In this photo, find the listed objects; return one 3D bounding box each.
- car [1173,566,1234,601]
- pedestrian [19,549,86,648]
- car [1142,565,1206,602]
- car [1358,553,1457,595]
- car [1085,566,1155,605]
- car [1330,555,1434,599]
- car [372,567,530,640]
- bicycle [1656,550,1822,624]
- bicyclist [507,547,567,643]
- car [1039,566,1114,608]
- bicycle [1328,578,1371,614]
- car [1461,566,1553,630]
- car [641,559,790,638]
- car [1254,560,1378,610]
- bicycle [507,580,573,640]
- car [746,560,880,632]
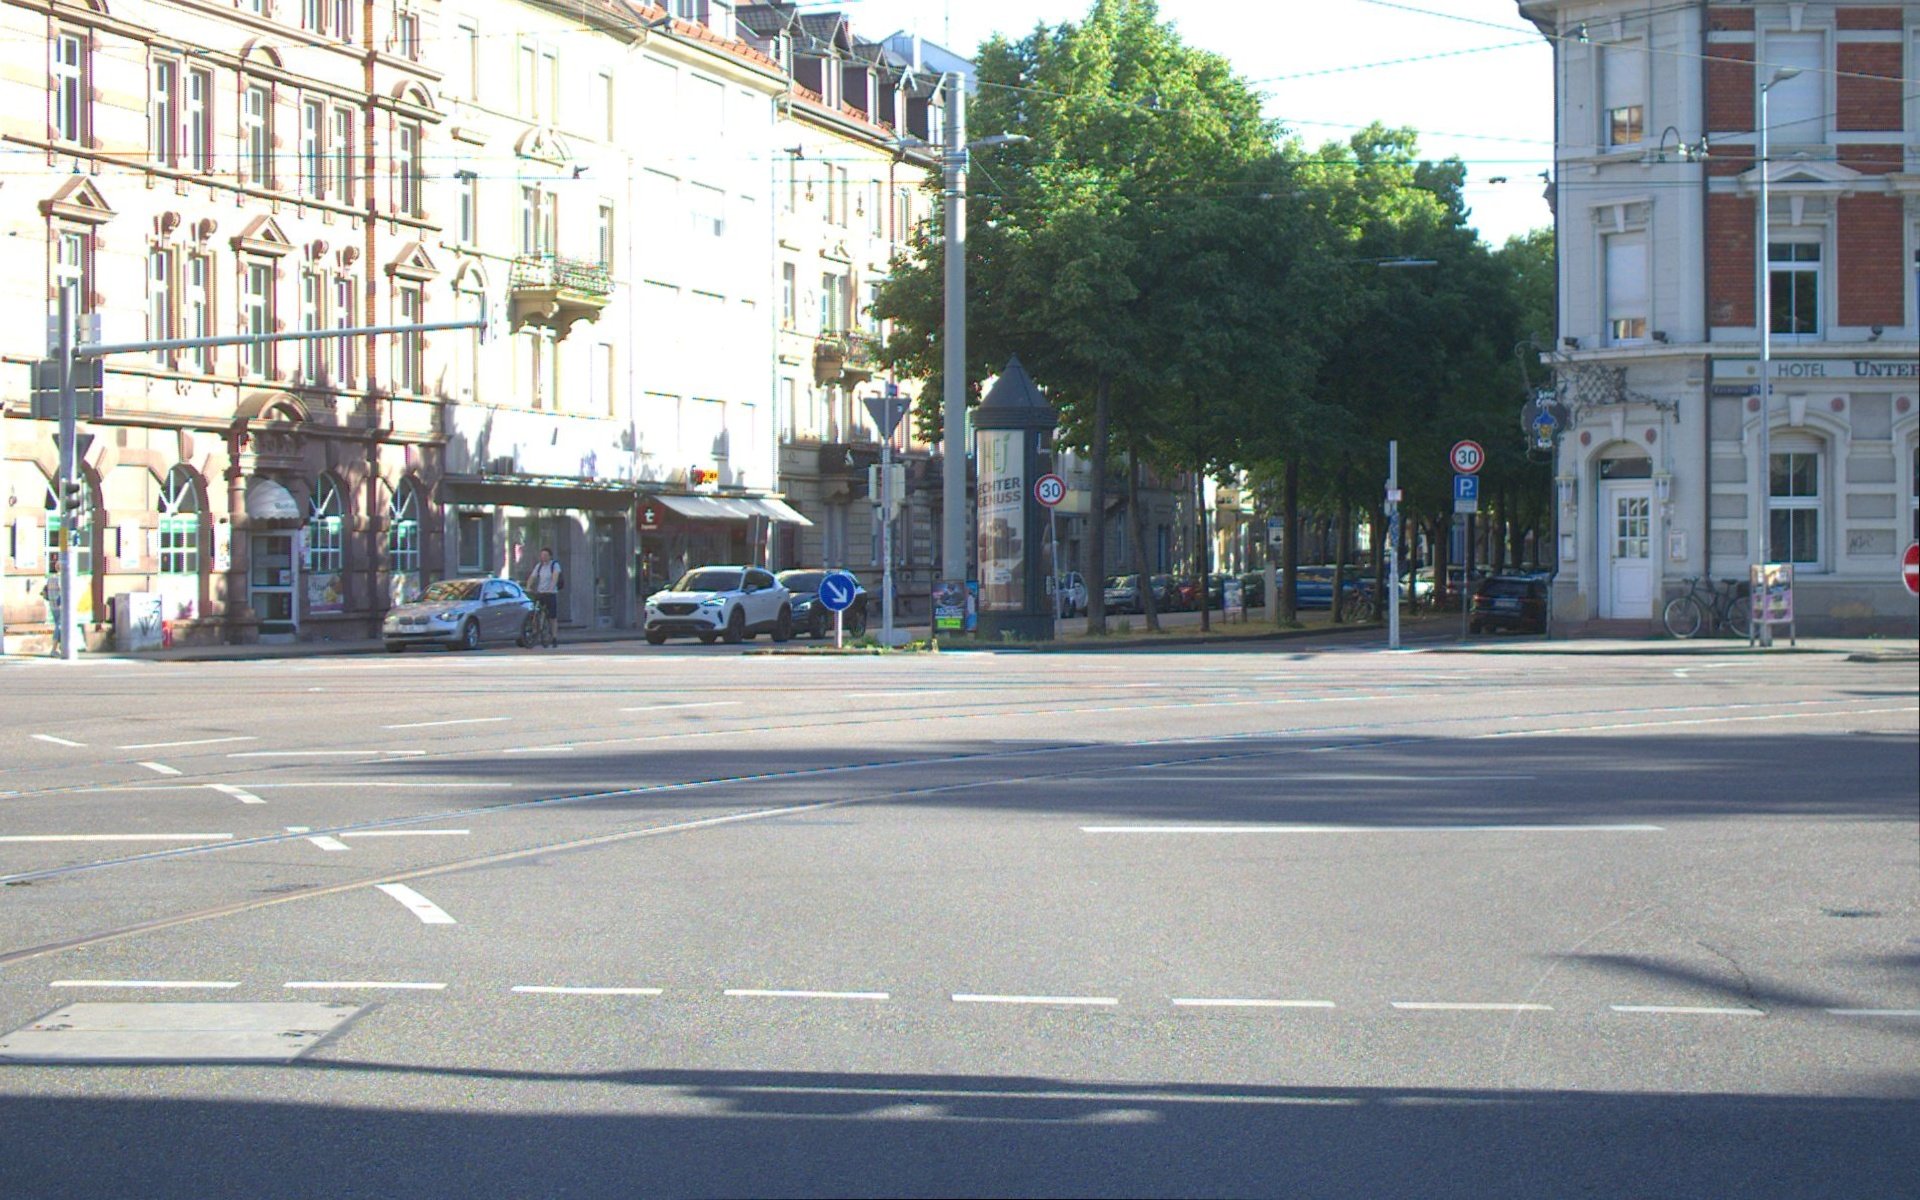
[{"bbox_3d":[9.619,-0.665,135.781,1.678,1.349,3.588,0,1,17],"label":"car"},{"bbox_3d":[-15.559,-0.027,58.961,0.776,1.664,0.830,1,0,15],"label":"pedestrian"},{"bbox_3d":[8.148,-0.625,130.750,1.678,1.349,3.588,0,1,17],"label":"car"},{"bbox_3d":[17.395,-1.012,133.510,3.582,1.642,1.681,0,1,17],"label":"car"},{"bbox_3d":[5.711,-0.531,122.444,1.678,1.349,3.588,0,1,17],"label":"car"},{"bbox_3d":[15.720,-0.858,128.036,3.582,1.642,1.681,0,1,17],"label":"car"},{"bbox_3d":[-9.866,0.051,66.913,1.678,1.349,3.588,0,1,17],"label":"car"},{"bbox_3d":[12.975,-0.213,57.279,2.554,1.170,0.819,1,0,-3],"label":"bicycle"},{"bbox_3d":[-8.008,-0.093,65.142,0.779,1.797,1.055,1,0,14],"label":"bicyclist"},{"bbox_3d":[3.940,-0.453,115.482,1.678,1.349,3.588,0,1,17],"label":"car"},{"bbox_3d":[11.268,-0.113,99.487,0.636,1.018,1.847,1,1,-14],"label":"bicycle"},{"bbox_3d":[13.156,-0.065,82.577,1.678,1.478,3.945,0,1,17],"label":"car"},{"bbox_3d":[-4.755,-0.057,67.317,1.678,1.478,3.768,0,1,17],"label":"car"},{"bbox_3d":[11.998,-0.519,115.681,3.905,1.642,1.681,0,1,17],"label":"car"},{"bbox_3d":[-7.973,0.180,65.268,0.702,1.114,1.634,1,1,13],"label":"bicycle"},{"bbox_3d":[-3.113,-0.108,73.618,1.678,1.478,3.945,0,1,17],"label":"car"}]
